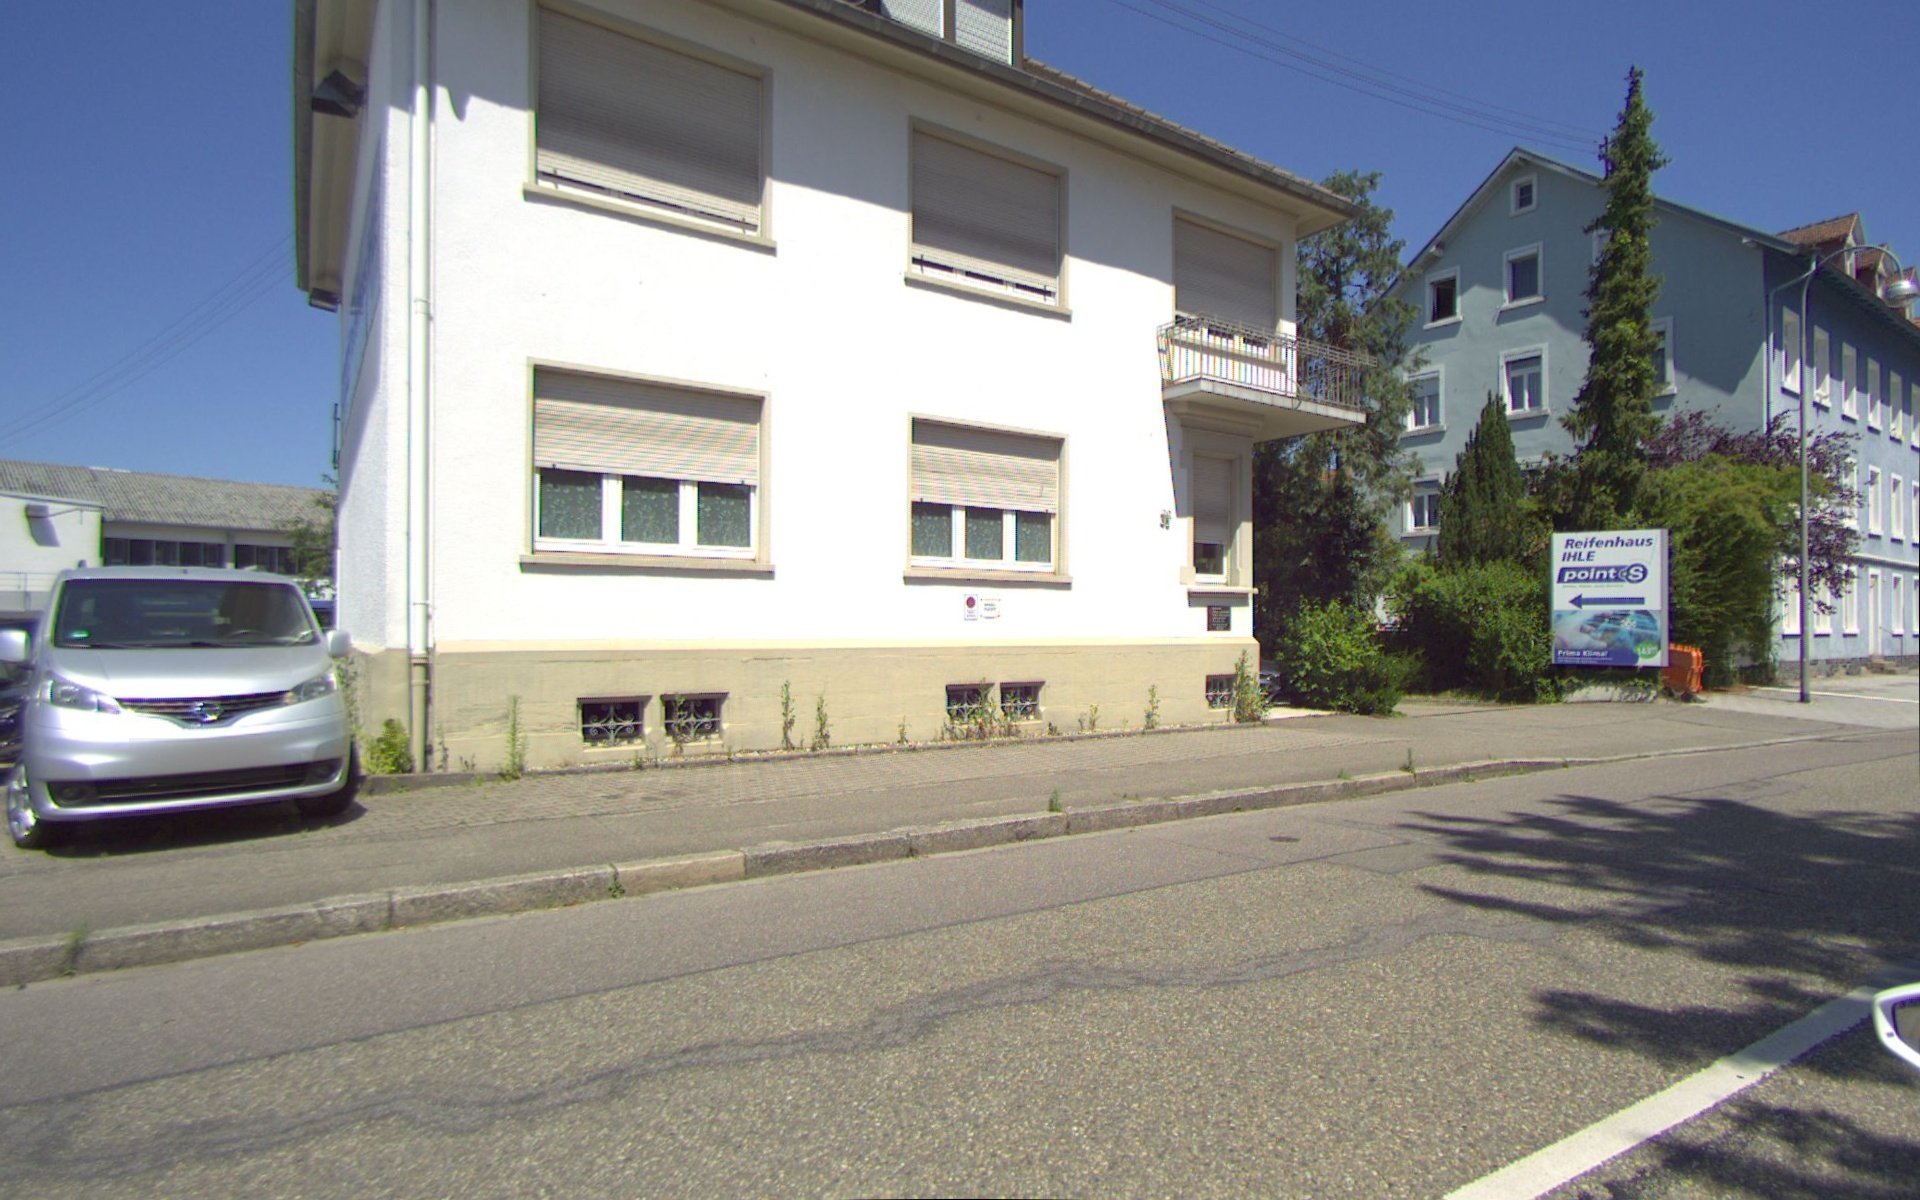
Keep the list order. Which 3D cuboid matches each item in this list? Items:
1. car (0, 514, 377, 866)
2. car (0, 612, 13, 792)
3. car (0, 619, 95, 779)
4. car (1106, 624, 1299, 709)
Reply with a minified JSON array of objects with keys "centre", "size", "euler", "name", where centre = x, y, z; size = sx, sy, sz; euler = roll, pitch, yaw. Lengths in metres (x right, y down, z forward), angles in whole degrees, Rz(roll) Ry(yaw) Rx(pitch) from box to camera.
[{"centre":[-5.913,0.610,7.662],"size":[1.835,1.901,4.316],"euler":[1,-4,-40],"name":"car"},{"centre":[-7.940,0.749,6.329],"size":[1.954,1.515,4.449],"euler":[1,-3,-31],"name":"car"},{"centre":[-10.870,1.104,10.558],"size":[1.954,1.514,4.451],"euler":[1,-6,-31],"name":"car"},{"centre":[4.825,1.307,20.495],"size":[1.546,1.559,3.903],"euler":[4,-3,-29],"name":"car"}]
